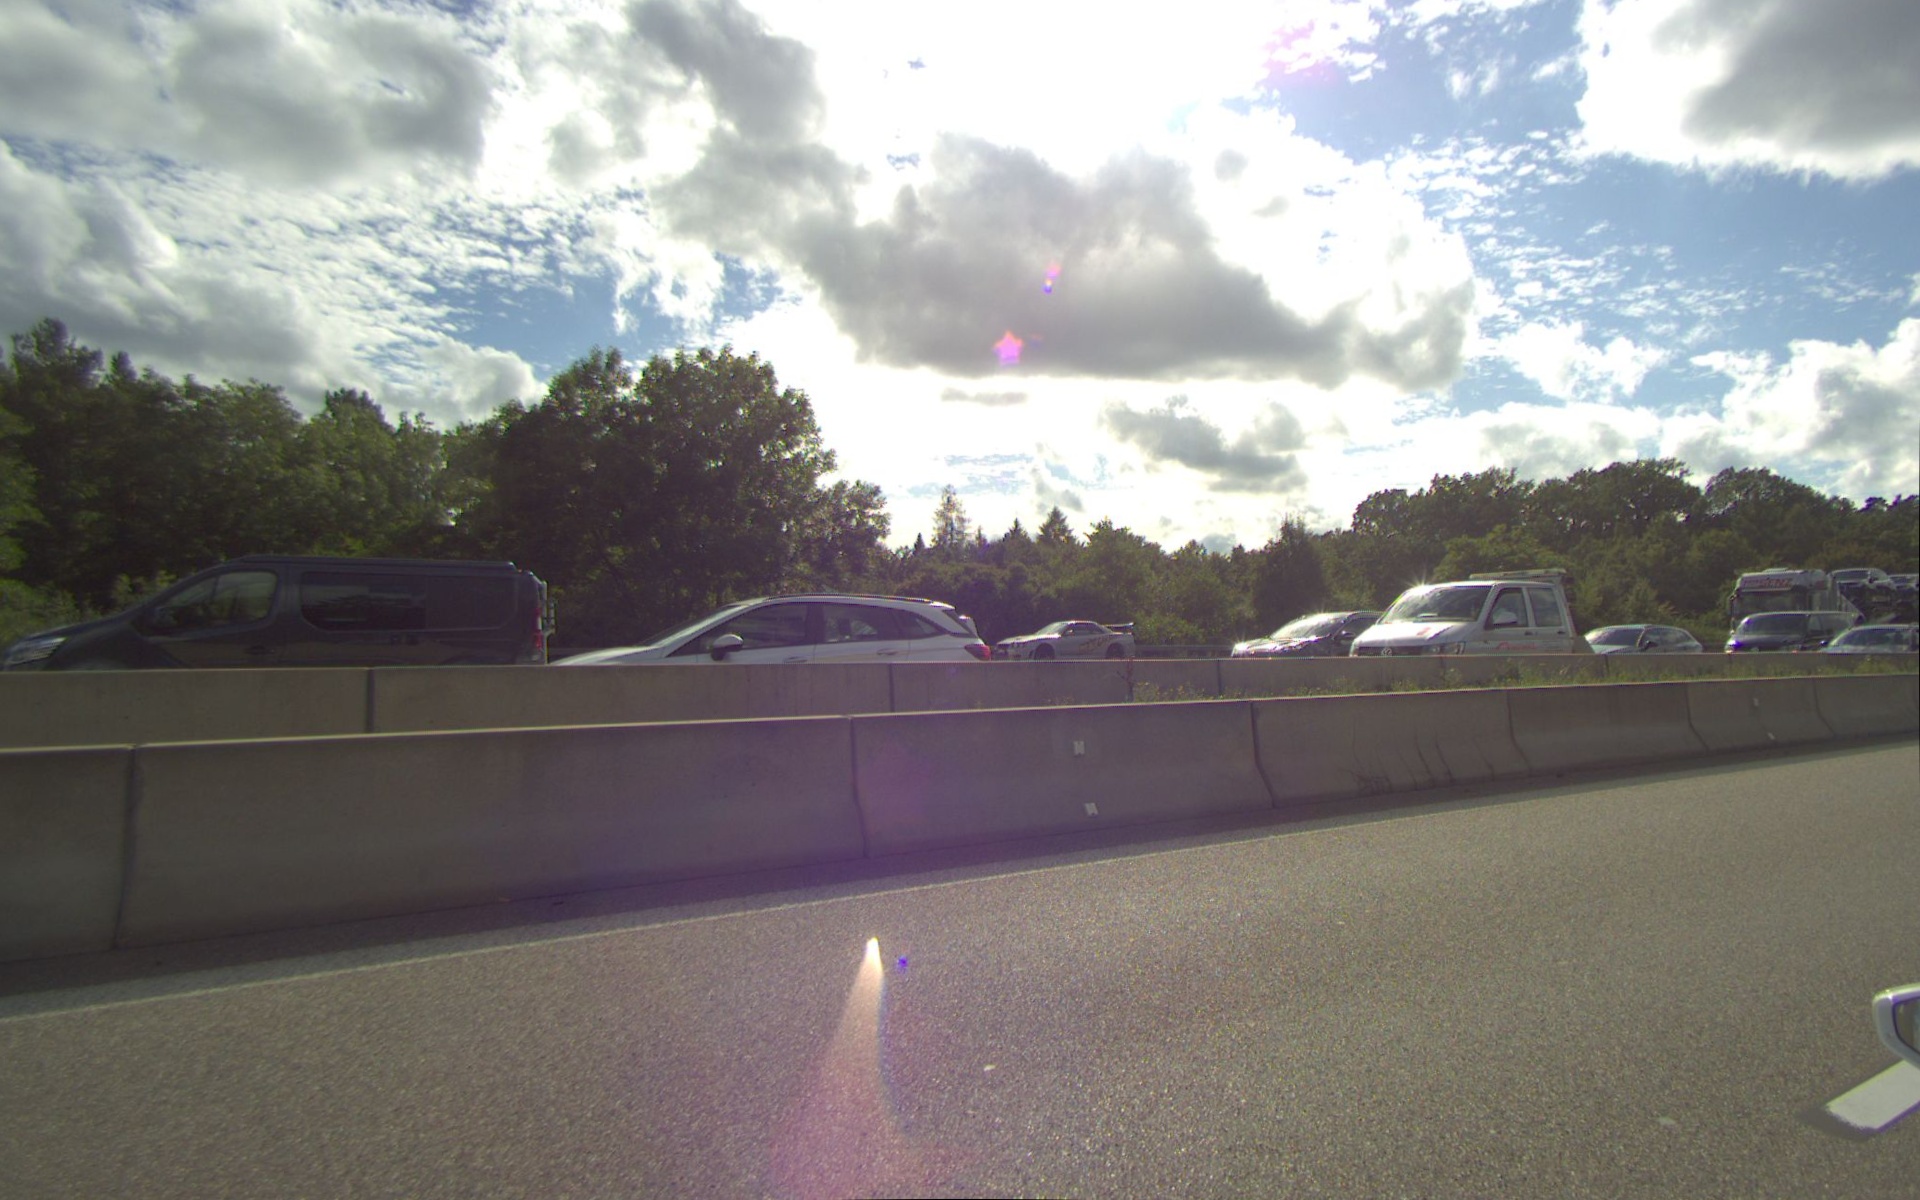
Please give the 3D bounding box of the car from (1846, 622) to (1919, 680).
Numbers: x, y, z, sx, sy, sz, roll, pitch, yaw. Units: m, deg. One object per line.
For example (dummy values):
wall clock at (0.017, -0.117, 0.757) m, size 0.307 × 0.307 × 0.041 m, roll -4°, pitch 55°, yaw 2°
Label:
car at (33.263, 1.750, 35.289) m, size 4.643 × 1.900 × 1.902 m, roll 1°, pitch -1°, yaw -31°

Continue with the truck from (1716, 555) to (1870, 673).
truck at (32.431, 0.545, 39.068) m, size 5.647 × 4.291 × 2.839 m, roll 1°, pitch 0°, yaw -31°

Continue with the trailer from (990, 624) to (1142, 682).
trailer at (3.227, 1.602, 30.375) m, size 4.297 × 1.600 × 1.818 m, roll 2°, pitch -1°, yaw -29°

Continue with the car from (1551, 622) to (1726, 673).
car at (16.666, 1.180, 24.609) m, size 4.827 × 1.091 × 1.632 m, roll 2°, pitch -1°, yaw -30°

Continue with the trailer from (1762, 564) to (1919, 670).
trailer at (40.214, 0.919, 43.773) m, size 15.822 × 4.027 × 2.816 m, roll 3°, pitch 0°, yaw -31°

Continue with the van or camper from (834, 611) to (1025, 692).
van or camper at (-0.806, 1.429, 28.071) m, size 5.016 × 2.060 × 1.851 m, roll 2°, pitch -1°, yaw -30°

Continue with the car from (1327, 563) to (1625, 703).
car at (7.734, 0.459, 15.013) m, size 4.130 × 1.825 × 2.076 m, roll 1°, pitch 0°, yaw -31°

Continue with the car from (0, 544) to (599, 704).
car at (-7.026, 0.271, 11.332) m, size 5.314 × 1.468 × 1.779 m, roll 2°, pitch 0°, yaw -31°

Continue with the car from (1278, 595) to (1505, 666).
car at (8.529, 0.599, 19.747) m, size 4.514 × 1.247 × 1.823 m, roll 2°, pitch -1°, yaw -31°

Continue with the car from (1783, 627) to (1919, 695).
car at (20.233, 1.335, 22.368) m, size 3.953 × 1.390 × 1.688 m, roll 2°, pitch -2°, yaw -30°

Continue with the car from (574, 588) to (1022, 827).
car at (-1.525, 0.891, 9.755) m, size 3.905 × 1.901 × 1.791 m, roll 1°, pitch 0°, yaw -31°
